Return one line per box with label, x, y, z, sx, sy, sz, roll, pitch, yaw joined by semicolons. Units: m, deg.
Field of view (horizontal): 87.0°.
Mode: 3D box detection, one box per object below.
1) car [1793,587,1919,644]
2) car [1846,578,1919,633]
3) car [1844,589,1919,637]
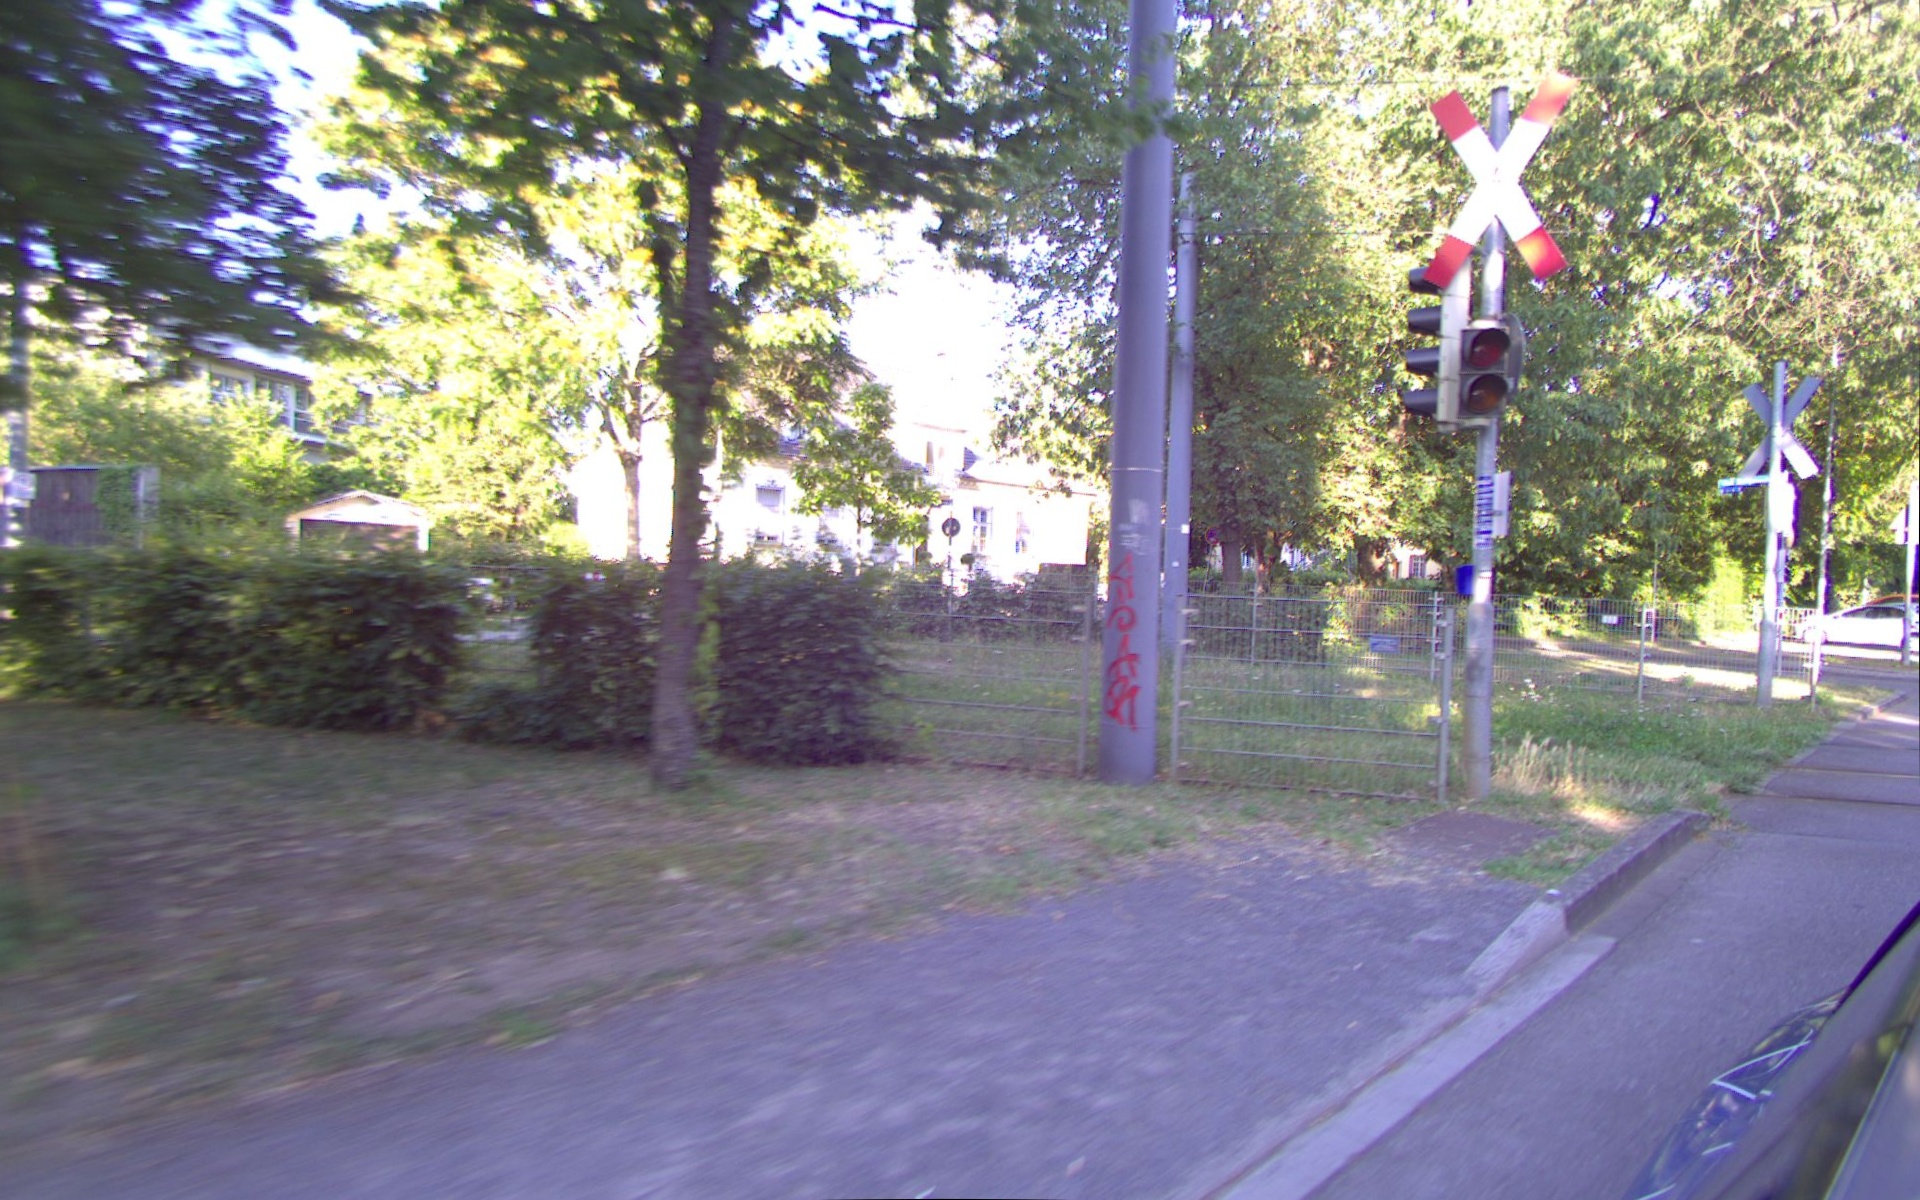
car;30.403;0.510;33.544;1.704;1.565;3.998;0;4;-40
car;38.641;0.315;40.222;2.044;2.021;4.808;0;4;-40
car;36.364;0.524;38.779;1.648;1.651;3.409;1;4;-36
